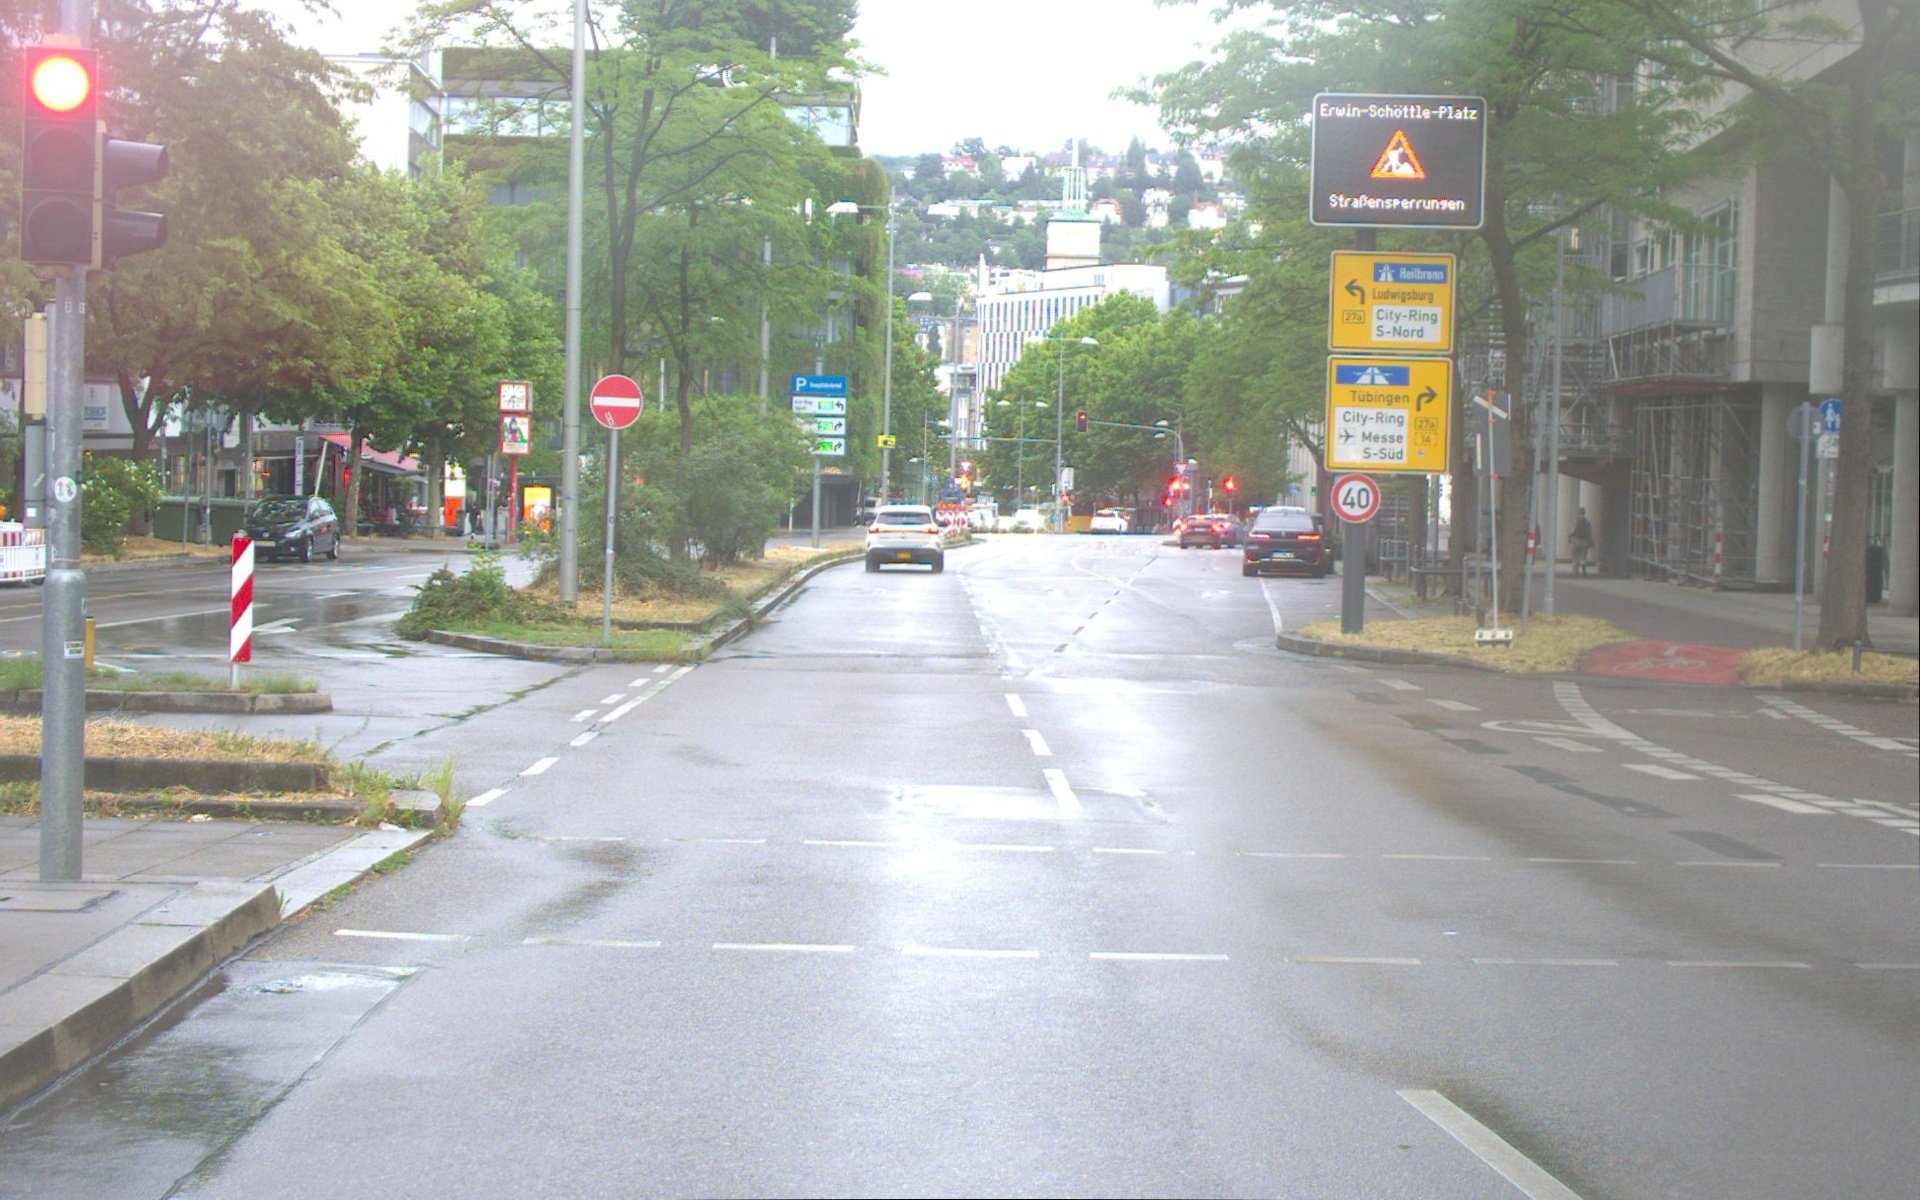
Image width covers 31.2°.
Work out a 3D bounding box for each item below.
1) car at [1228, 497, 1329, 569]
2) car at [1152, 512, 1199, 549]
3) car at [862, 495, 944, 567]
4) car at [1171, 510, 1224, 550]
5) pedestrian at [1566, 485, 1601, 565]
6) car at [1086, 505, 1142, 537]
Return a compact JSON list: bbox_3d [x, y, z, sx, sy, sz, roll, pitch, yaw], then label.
[{"bbox_3d":[7.754,-1.634,83.419,2.339,1.685,3.999,1,2,6],"label":"car"},{"bbox_3d":[10.446,-3.373,166.796,1.993,1.730,4.000,1,0,-1],"label":"car"},{"bbox_3d":[-1.417,-1.679,83.846,1.828,1.634,4.301,2,1,-2],"label":"car"},{"bbox_3d":[10.714,-3.147,155.288,1.993,1.718,4.000,1,0,-1],"label":"car"},{"bbox_3d":[14.990,-1.799,82.647,0.775,1.914,0.702,1,0,10],"label":"pedestrian"},{"bbox_3d":[9.221,-4.694,204.964,1.996,1.752,3.995,3,1,23],"label":"car"}]
